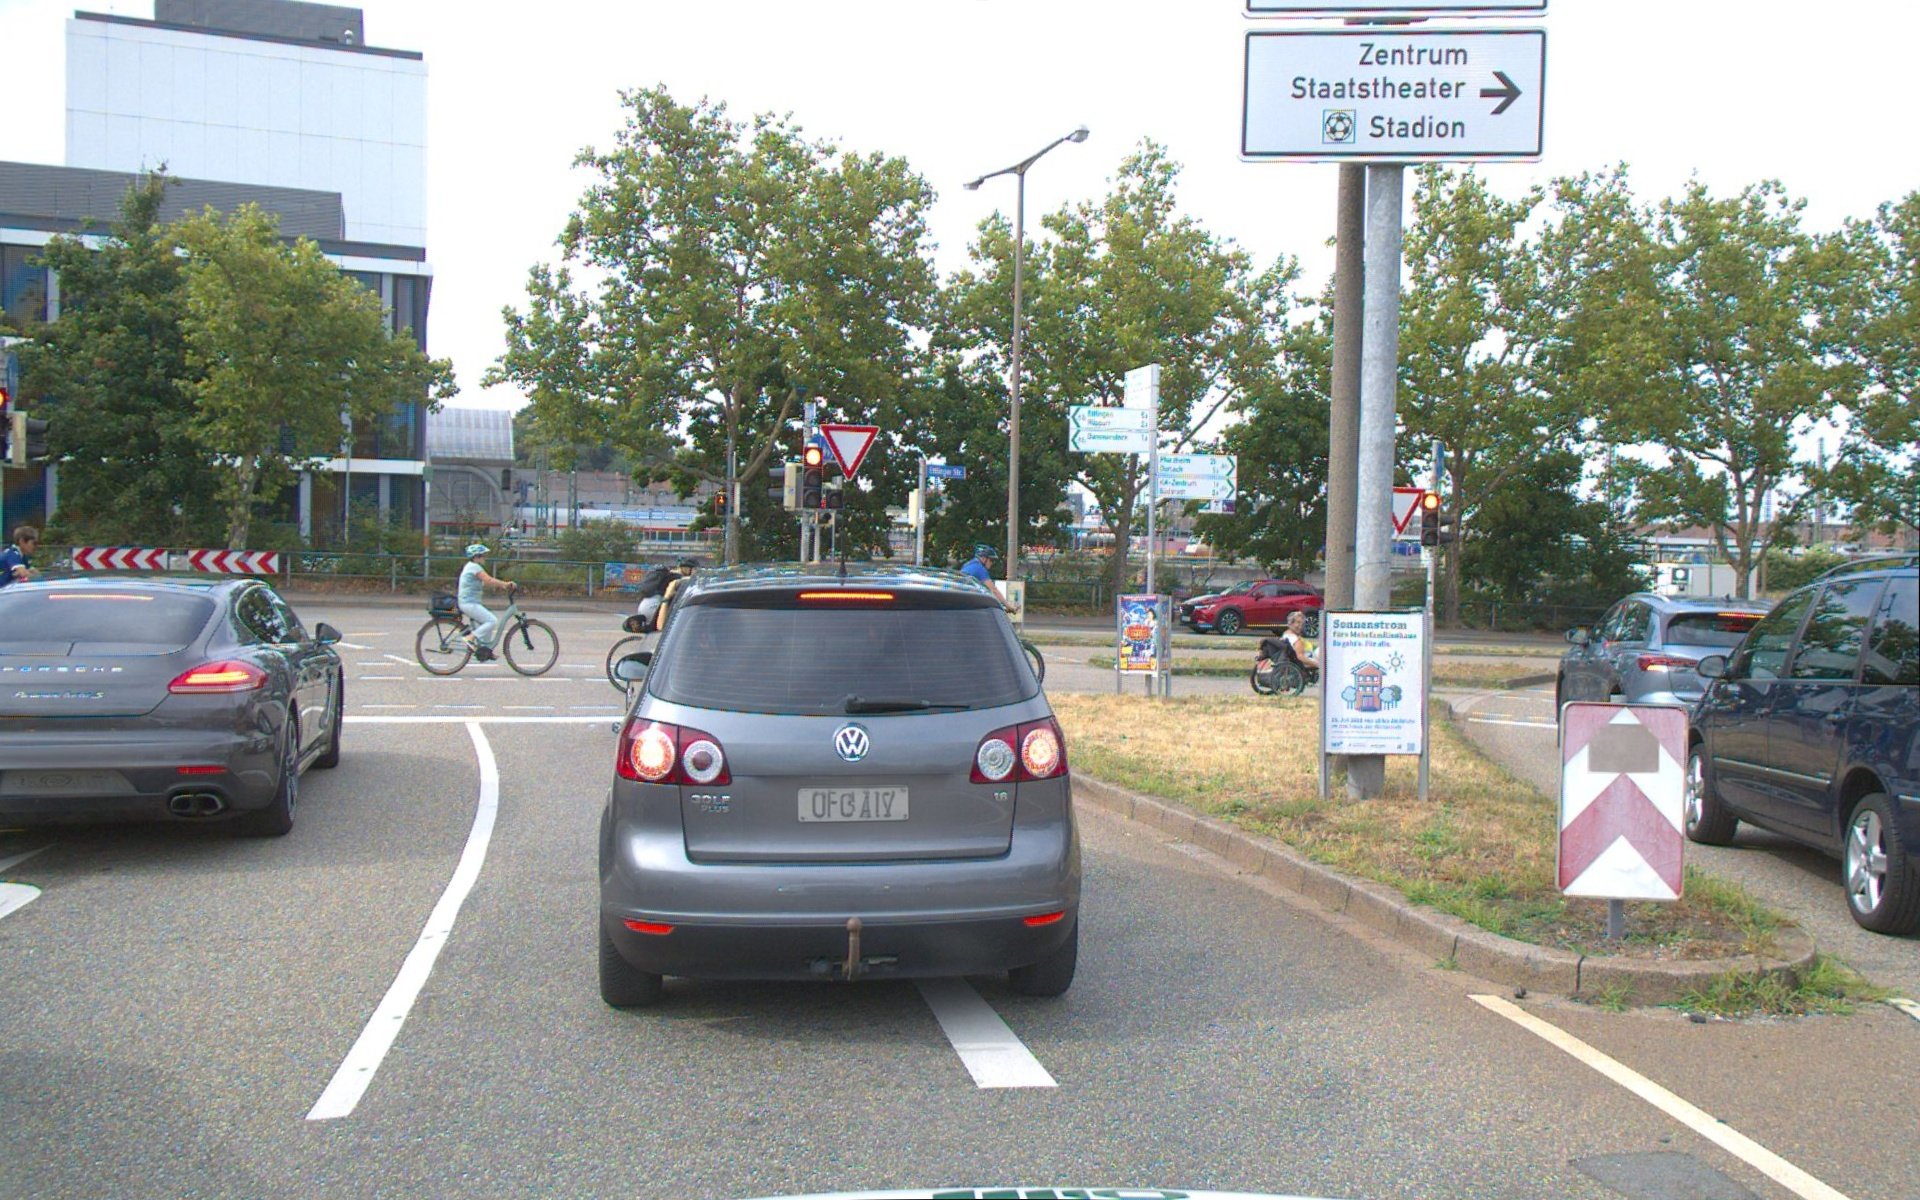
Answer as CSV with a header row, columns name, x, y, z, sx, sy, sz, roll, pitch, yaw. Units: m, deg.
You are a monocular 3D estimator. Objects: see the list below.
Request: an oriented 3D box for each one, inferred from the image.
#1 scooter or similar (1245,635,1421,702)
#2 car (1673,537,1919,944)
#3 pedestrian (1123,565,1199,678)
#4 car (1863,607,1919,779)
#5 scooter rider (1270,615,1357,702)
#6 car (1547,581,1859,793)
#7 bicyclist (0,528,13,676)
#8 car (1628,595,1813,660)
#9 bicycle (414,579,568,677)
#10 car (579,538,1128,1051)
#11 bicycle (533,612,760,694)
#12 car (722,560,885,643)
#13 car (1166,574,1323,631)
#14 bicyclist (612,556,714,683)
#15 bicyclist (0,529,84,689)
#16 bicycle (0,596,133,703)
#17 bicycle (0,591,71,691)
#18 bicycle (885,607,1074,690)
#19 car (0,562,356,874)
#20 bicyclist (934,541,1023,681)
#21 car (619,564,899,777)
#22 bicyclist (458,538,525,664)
name,x,y,z,sx,sy,sz,roll,pitch,yaw
scooter or similar,5.237,0.951,23.229,2.342,0.864,0.804,1,1,-19
car,5.262,0.651,8.686,1.713,1.754,4.141,3,0,9
pedestrian,3.248,0.330,26.654,1.025,1.740,0.854,2,1,17
car,10.159,0.954,15.474,1.713,1.671,4.141,3,0,10
scooter rider,4.939,0.803,23.133,0.900,1.157,0.804,1,1,-19
car,6.734,0.701,15.445,1.655,1.613,4.160,3,0,11
bicyclist,-10.530,0.008,17.463,0.826,1.556,0.624,1,1,-22
car,18.198,0.658,39.585,3.996,1.476,1.693,1,1,-20
bicycle,-6.100,0.363,21.536,1.874,1.231,0.639,1,1,-21
car,-0.609,0.584,7.214,1.709,1.573,4.074,1,0,-9
bicycle,-3.692,0.613,19.501,2.545,0.905,0.701,1,1,-20
car,-2.895,0.024,30.469,2.672,1.447,1.490,1,1,-22
car,7.710,0.076,44.876,3.894,1.473,1.692,1,1,-21
bicyclist,-3.514,0.217,19.553,1.097,1.461,0.644,0,1,-19
bicyclist,-9.381,0.085,16.525,1.001,1.566,0.625,1,1,-19
bicycle,-9.373,0.488,16.551,1.872,1.031,0.625,1,1,-20
bicycle,-10.499,0.422,17.475,1.874,1.031,0.624,1,1,-22
bicycle,0.242,0.594,20.453,2.194,0.969,0.807,1,1,-20
car,-4.850,0.518,10.115,1.789,1.438,4.756,1,1,-16
bicyclist,0.218,0.124,20.443,0.867,1.685,0.807,1,1,-19
car,-1.837,0.480,13.913,1.713,1.508,4.064,1,1,-16
bicyclist,-6.100,0.006,21.514,0.768,1.608,0.651,1,1,-21
